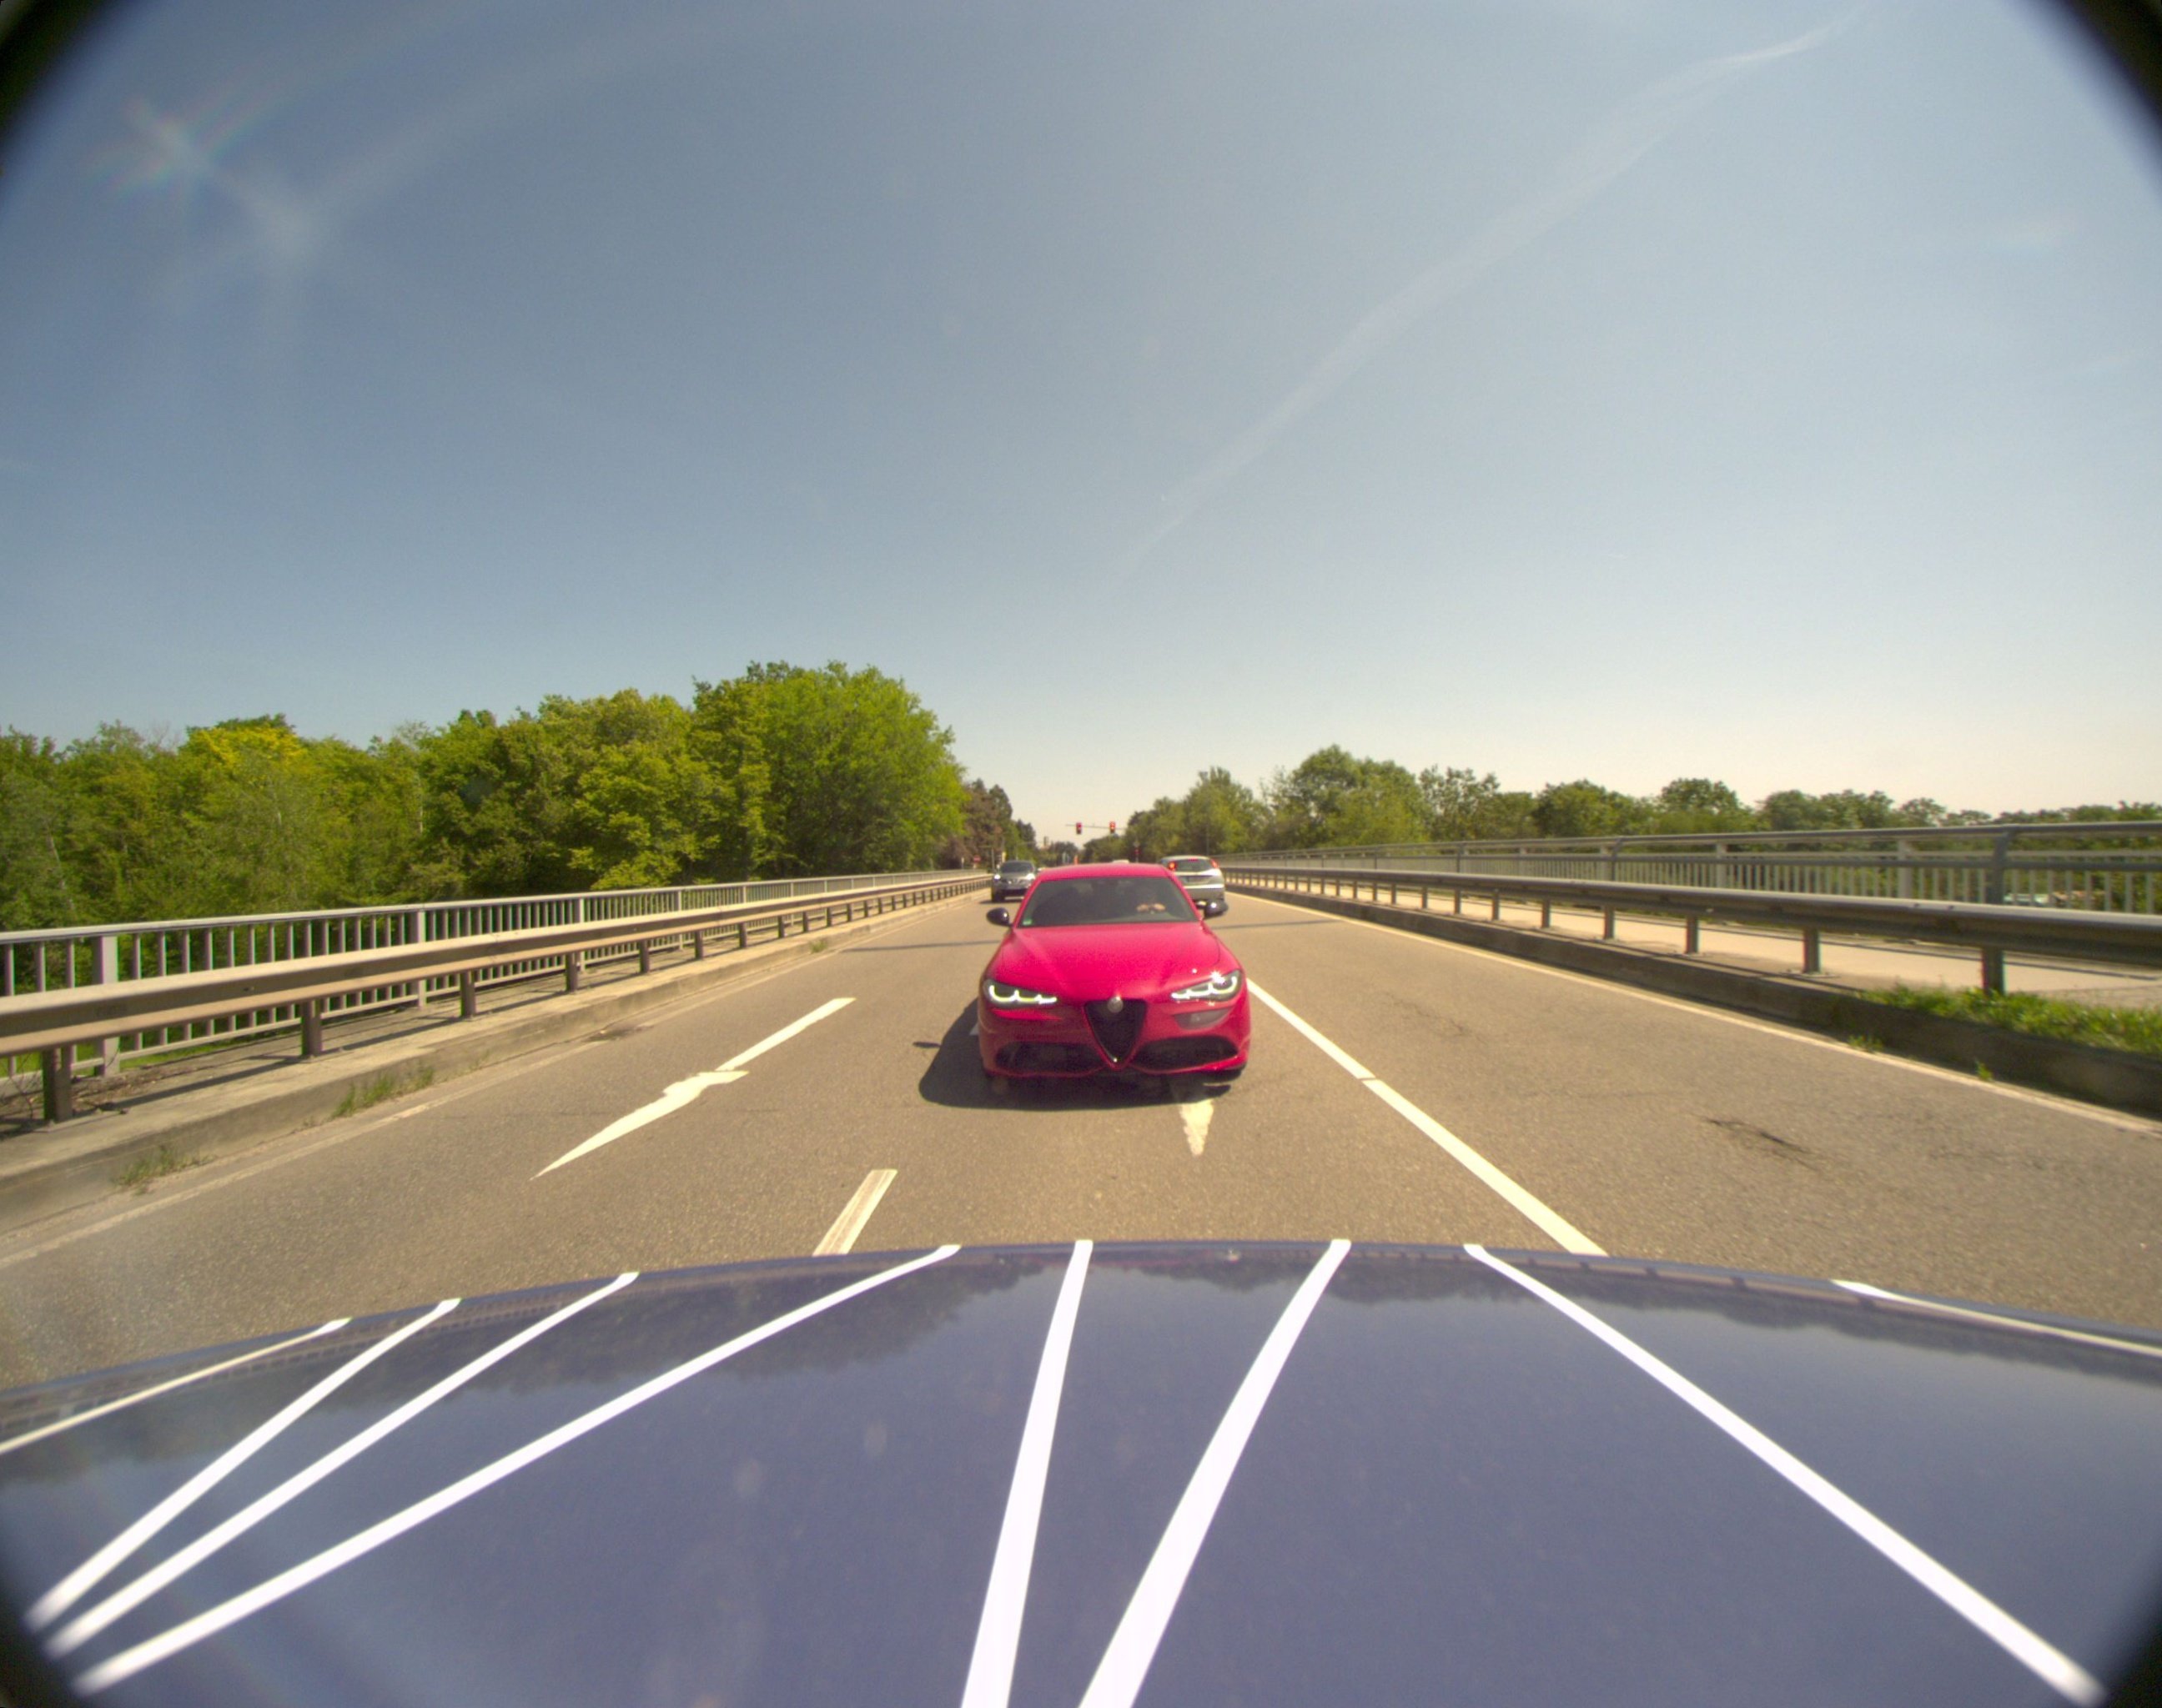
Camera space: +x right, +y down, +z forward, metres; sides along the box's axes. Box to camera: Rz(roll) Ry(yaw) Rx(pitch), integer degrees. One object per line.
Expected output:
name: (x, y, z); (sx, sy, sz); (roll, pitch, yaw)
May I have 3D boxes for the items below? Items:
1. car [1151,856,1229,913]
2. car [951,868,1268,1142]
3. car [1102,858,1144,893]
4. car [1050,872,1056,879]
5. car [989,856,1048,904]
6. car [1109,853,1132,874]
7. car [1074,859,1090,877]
car: (3.036, 0.811, 21.864); (1.800, 1.448, 3.706); (-2, 0, 2)
car: (0.194, 0.921, 6.557); (1.800, 1.448, 4.285); (-2, 0, 1)
car: (1.815, 0.919, 34.032); (1.647, 1.373, 3.938); (-2, 0, 1)
car: (-6.911, 5.330, 187.306); (1.416, 1.499, 3.316); (-1, 1, 0)
car: (-2.334, 0.937, 29.423); (1.848, 1.675, 4.000); (-2, 0, 1)
car: (3.530, 0.859, 68.370); (1.848, 1.758, 4.000); (-2, 0, 1)
car: (0.102, 1.445, 78.829); (1.633, 1.667, 3.489); (-2, 1, 0)
